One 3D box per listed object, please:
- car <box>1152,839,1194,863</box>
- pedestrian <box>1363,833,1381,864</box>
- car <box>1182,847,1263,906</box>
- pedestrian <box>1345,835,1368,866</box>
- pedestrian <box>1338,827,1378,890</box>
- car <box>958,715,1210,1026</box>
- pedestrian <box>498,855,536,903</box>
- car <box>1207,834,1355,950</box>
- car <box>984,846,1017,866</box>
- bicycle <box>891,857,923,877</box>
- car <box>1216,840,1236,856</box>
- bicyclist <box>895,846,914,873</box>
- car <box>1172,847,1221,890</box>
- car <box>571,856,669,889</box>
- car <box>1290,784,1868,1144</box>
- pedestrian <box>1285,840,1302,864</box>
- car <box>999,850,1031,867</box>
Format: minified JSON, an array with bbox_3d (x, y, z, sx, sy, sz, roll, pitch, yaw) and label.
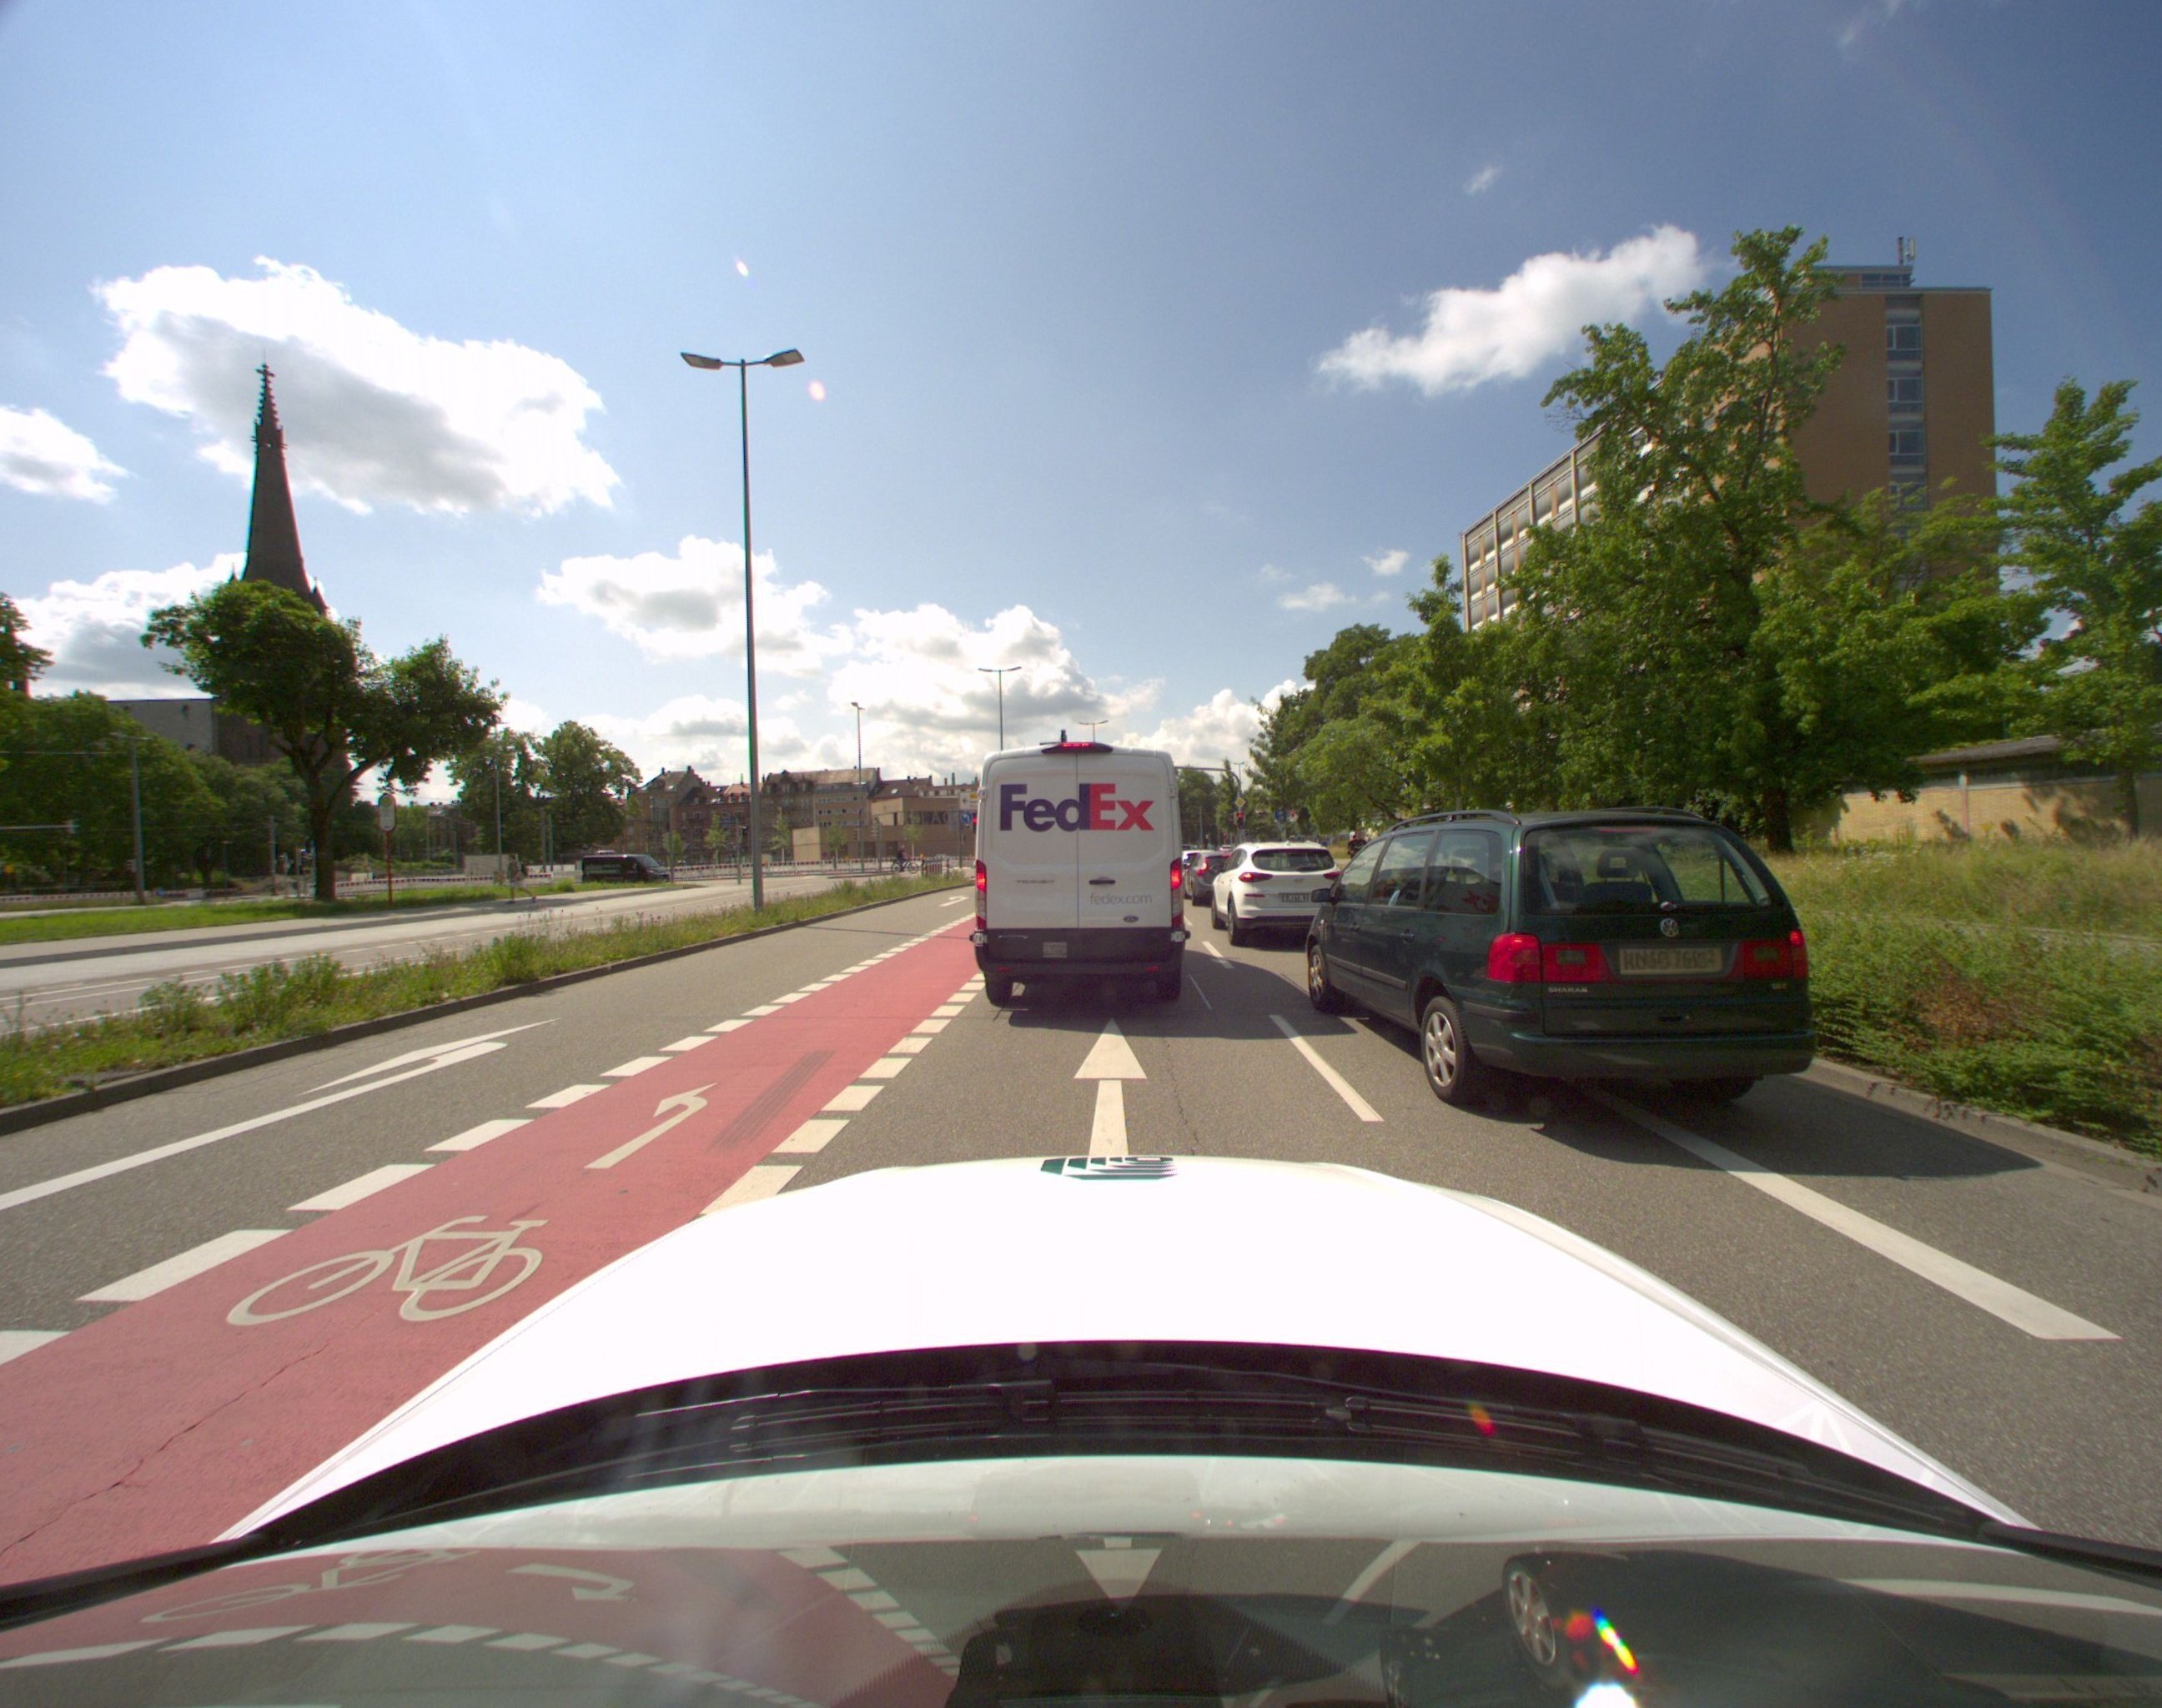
[{"bbox_3d":[8.047,-0.275,70.738,2.073,2.013,4.672,-2,0,27],"label":"car"},{"bbox_3d":[19.536,-0.370,54.698,0.739,2.057,0.843,-2,0,-15],"label":"pedestrian"},{"bbox_3d":[3.879,0.568,22.885,1.790,1.461,3.842,-2,0,4],"label":"car"},{"bbox_3d":[13.978,-0.192,41.326,0.842,1.539,0.835,-2,0,1],"label":"pedestrian"},{"bbox_3d":[8.574,0.139,25.260,0.947,1.892,0.774,-2,0,1],"label":"pedestrian"},{"bbox_3d":[-0.071,0.125,9.917,2.135,2.652,5.699,-1,0,-2],"label":"car"},{"bbox_3d":[-19.183,0.840,27.711,0.548,1.560,0.881,-2,0,31],"label":"pedestrian"},{"bbox_3d":[3.305,0.549,14.203,1.790,1.687,4.004,-2,0,4],"label":"car"},{"bbox_3d":[-8.472,0.184,85.894,1.978,2.013,4.017,-2,0,16],"label":"car"},{"bbox_3d":[-11.872,0.854,55.633,2.061,1.290,0.603,-2,0,-6],"label":"bicycle"},{"bbox_3d":[17.312,-0.733,97.306,1.979,1.794,4.388,-2,0,14],"label":"car"},{"bbox_3d":[-12.029,0.365,55.610,1.117,1.844,0.592,-2,1,-6],"label":"bicyclist"},{"bbox_3d":[4.155,0.486,29.572,1.478,1.428,3.436,-2,0,4],"label":"car"},{"bbox_3d":[-29.387,1.169,52.036,4.995,1.878,1.928,-2,1,-2],"label":"car"},{"bbox_3d":[2.994,0.522,6.177,1.805,1.734,4.390,-1,0,2],"label":"car"},{"bbox_3d":[12.516,-0.132,47.982,0.842,1.389,0.741,-2,0,1],"label":"pedestrian"},{"bbox_3d":[-6.762,0.465,83.748,1.886,1.585,4.017,-2,0,16],"label":"car"}]
